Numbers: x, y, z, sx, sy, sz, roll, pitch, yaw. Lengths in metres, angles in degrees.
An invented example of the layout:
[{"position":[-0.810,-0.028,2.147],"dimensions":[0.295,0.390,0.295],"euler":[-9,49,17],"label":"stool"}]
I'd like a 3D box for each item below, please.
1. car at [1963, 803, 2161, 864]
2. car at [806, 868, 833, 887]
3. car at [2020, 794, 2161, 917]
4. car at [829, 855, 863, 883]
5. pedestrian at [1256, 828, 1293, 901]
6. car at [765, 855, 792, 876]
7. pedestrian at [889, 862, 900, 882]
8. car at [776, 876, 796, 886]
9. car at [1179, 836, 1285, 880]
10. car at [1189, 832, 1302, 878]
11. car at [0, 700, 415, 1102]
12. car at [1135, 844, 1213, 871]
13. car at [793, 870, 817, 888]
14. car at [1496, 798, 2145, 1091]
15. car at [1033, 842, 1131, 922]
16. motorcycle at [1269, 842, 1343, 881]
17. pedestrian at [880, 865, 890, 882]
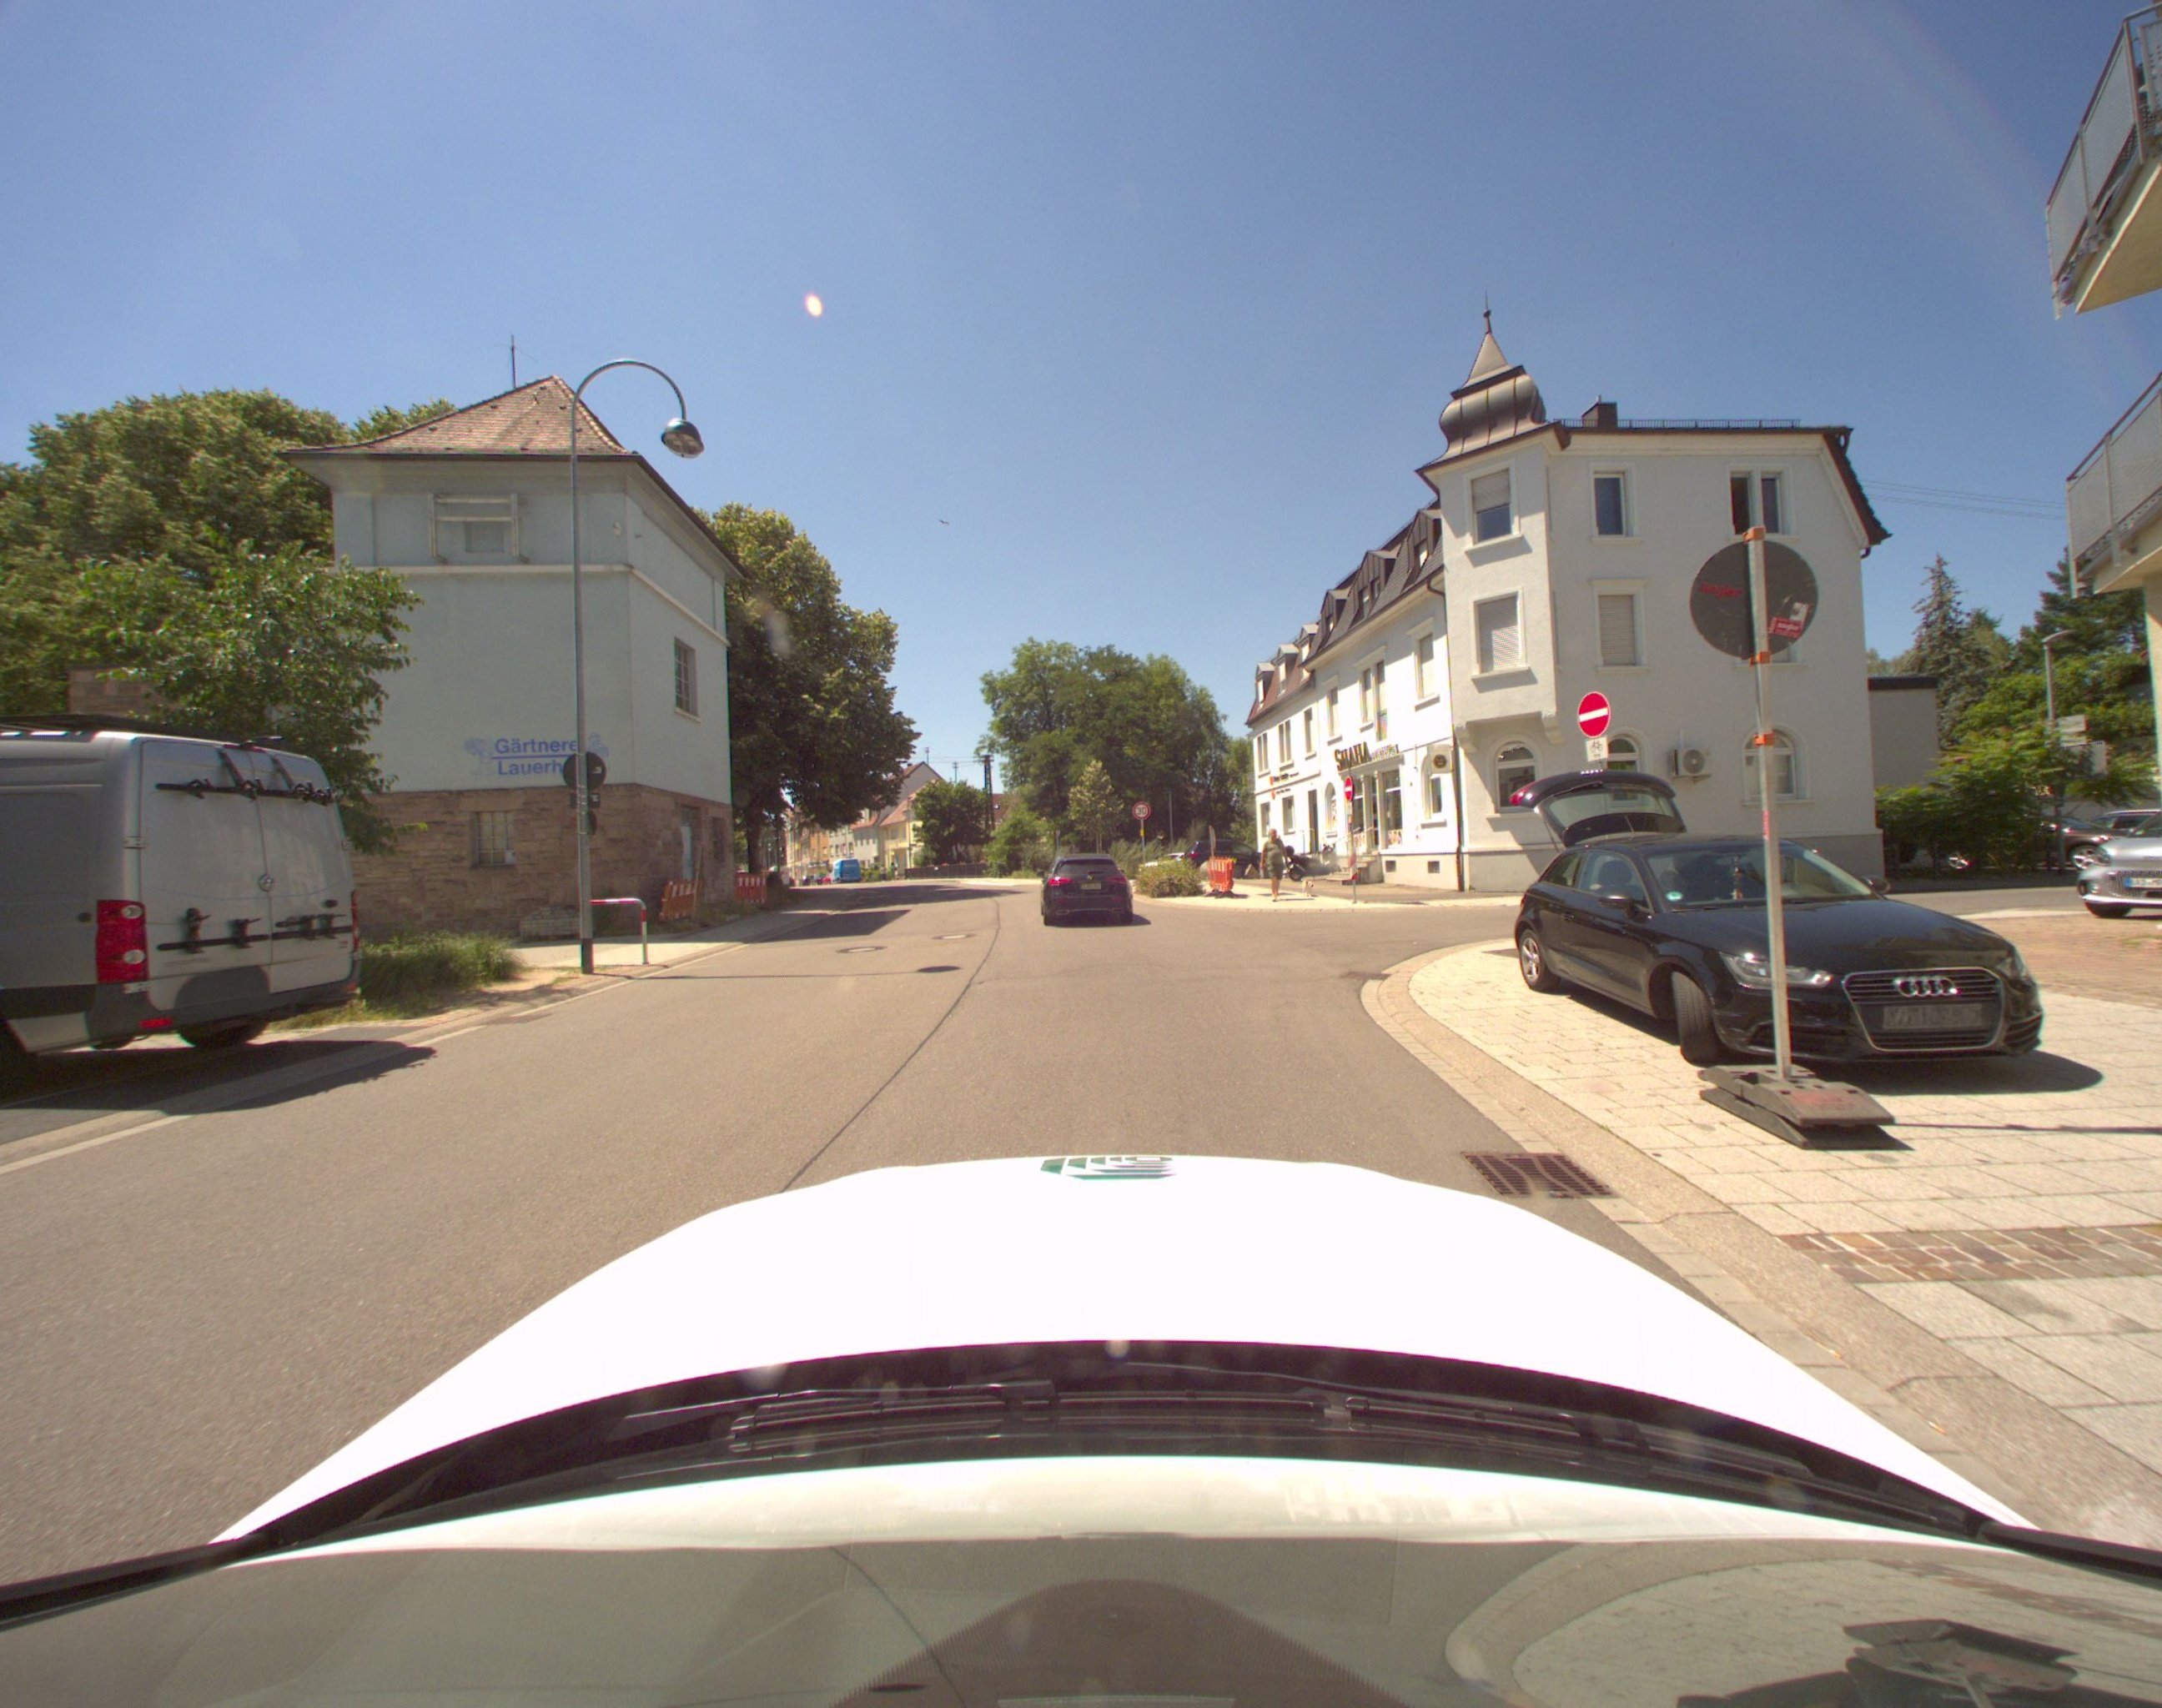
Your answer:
[{"position":[29.636,-0.579,24.432],"dimensions":[1.987,1.640,4.000],"euler":[-2,0,0],"label":"car"},{"position":[-28.219,2.582,87.824],"dimensions":[2.006,1.746,4.287],"euler":[-2,-3,-29],"label":"car"},{"position":[14.267,-0.006,10.456],"dimensions":[2.722,1.471,1.528],"euler":[-2,-2,-4],"label":"car"},{"position":[-22.567,1.466,77.968],"dimensions":[2.145,2.541,4.606],"euler":[-2,-1,-28],"label":"car"},{"position":[4.965,0.252,20.898],"dimensions":[0.742,1.796,0.845],"euler":[-2,1,4],"label":"pedestrian"},{"position":[-34.721,1.308,93.359],"dimensions":[2.258,2.343,4.807],"euler":[0,-1,-29],"label":"car"},{"position":[-17.254,1.666,75.207],"dimensions":[0.693,1.741,0.666],"euler":[-4,-2,44],"label":"pedestrian"},{"position":[-41.389,3.778,114.231],"dimensions":[2.006,1.392,4.288],"euler":[-2,0,-29],"label":"car"},{"position":[6.323,0.177,34.393],"dimensions":[4.068,1.716,1.853],"euler":[-1,-1,-5],"label":"car"},{"position":[6.494,0.049,32.443],"dimensions":[4.068,1.716,1.853],"euler":[-1,-1,-5],"label":"car"},{"position":[-9.294,0.366,6.613],"dimensions":[5.753,2.732,2.289],"euler":[-1,-1,-3],"label":"car"},{"position":[5.111,0.180,44.569],"dimensions":[4.224,1.350,1.839],"euler":[0,2,-40],"label":"car"},{"position":[-32.284,2.914,95.199],"dimensions":[2.006,2.013,3.962],"euler":[-2,0,-29],"label":"car"},{"position":[4.890,0.472,6.285],"dimensions":[1.861,1.491,3.872],"euler":[-4,1,9],"label":"car"},{"position":[0.056,0.623,17.592],"dimensions":[1.821,1.442,4.000],"euler":[-3,-3,1],"label":"car"},{"position":[8.014,0.260,29.002],"dimensions":[2.372,1.275,0.855],"euler":[-2,0,-4],"label":"motorcycle"},{"position":[-18.254,1.809,75.800],"dimensions":[0.618,1.612,0.829],"euler":[-2,-1,-33],"label":"pedestrian"}]
